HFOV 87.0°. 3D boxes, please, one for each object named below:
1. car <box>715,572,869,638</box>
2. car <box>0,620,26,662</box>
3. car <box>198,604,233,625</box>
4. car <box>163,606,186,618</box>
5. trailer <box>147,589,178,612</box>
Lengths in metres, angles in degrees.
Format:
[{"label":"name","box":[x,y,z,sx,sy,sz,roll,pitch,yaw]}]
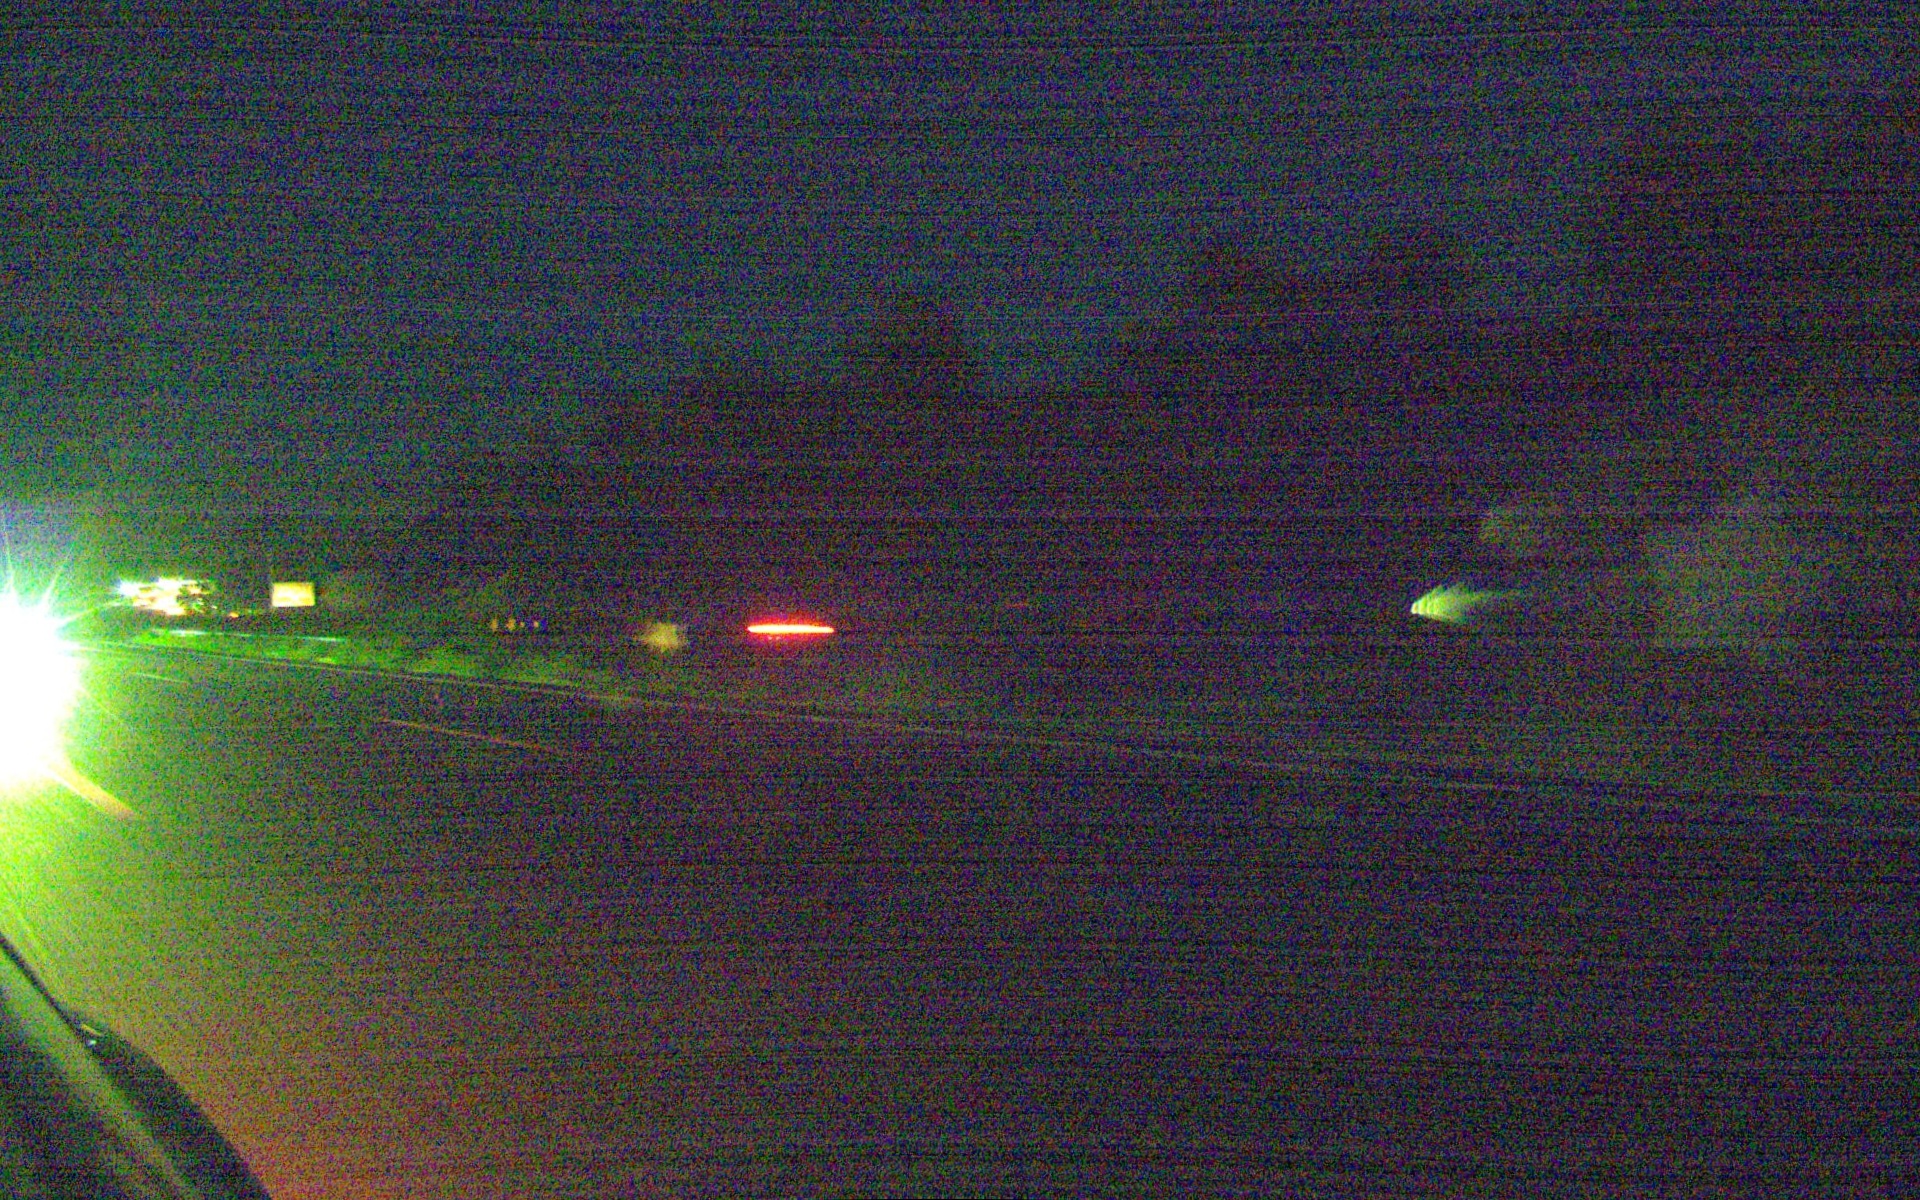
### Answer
[{"label":"car","box":[-4.532,0.148,26.969,4.076,1.623,1.972,-1,-1,42]},{"label":"car","box":[-37.338,1.574,39.088,1.807,1.422,4.004,-1,2,-43]},{"label":"car","box":[-68.277,1.362,92.756,4.078,1.868,1.971,-1,-1,44]},{"label":"car","box":[-122.167,1.862,157.371,2.369,1.890,4.516,1,-1,-44]},{"label":"trailer","box":[-151.351,0.152,192.056,3.556,4.121,14.139,0,0,-43]}]
